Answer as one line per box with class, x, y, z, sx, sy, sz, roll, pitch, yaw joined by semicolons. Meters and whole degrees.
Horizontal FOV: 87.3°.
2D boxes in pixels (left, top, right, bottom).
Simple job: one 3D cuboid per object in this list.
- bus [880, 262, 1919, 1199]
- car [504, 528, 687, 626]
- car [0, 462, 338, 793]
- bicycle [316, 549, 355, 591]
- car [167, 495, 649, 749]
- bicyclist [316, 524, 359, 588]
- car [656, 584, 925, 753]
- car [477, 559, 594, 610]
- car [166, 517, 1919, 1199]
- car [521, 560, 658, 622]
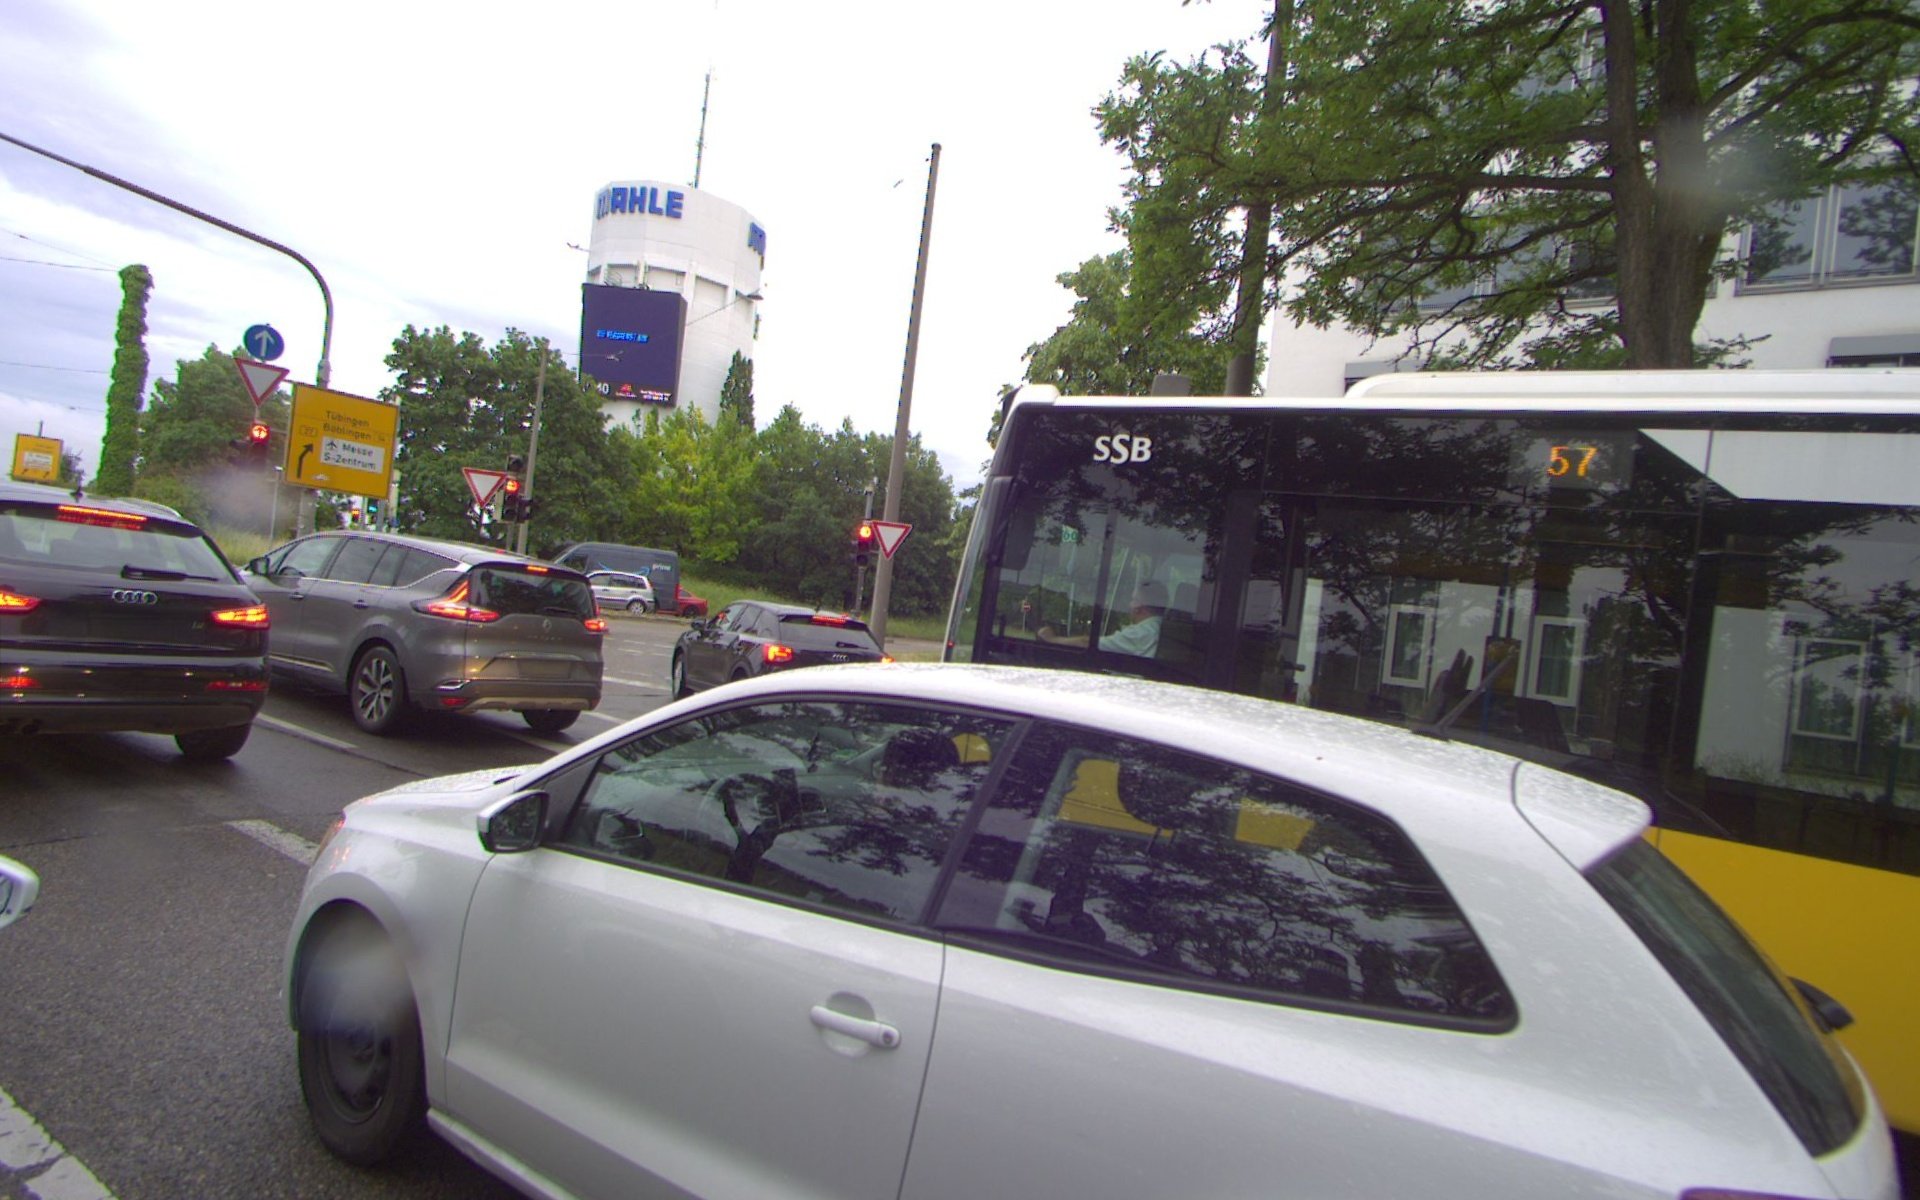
bus;5.508;0.757;3.648;11.943;3.187;2.733;7;-2;32
car;-13.707;-0.783;38.021;5.972;2.772;2.065;9;-3;-33
car;-6.139;0.030;6.442;4.045;1.613;1.889;6;-3;31
bicycle;-17.147;-0.829;27.661;0.803;1.035;2.310;6;-1;-31
car;-5.372;0.142;9.651;4.488;1.694;1.869;7;-1;30
bicyclist;-17.115;-1.205;27.681;0.803;1.601;1.015;9;-2;-31
car;-2.301;0.754;12.627;1.851;1.517;4.117;6;1;-31
car;-17.989;-0.647;42.701;4.112;1.582;1.852;9;-2;-38
car;-0.141;0.748;2.646;3.748;1.447;1.745;6;-3;31
car;-12.855;-0.276;34.985;4.027;1.586;1.855;9;-4;-35
